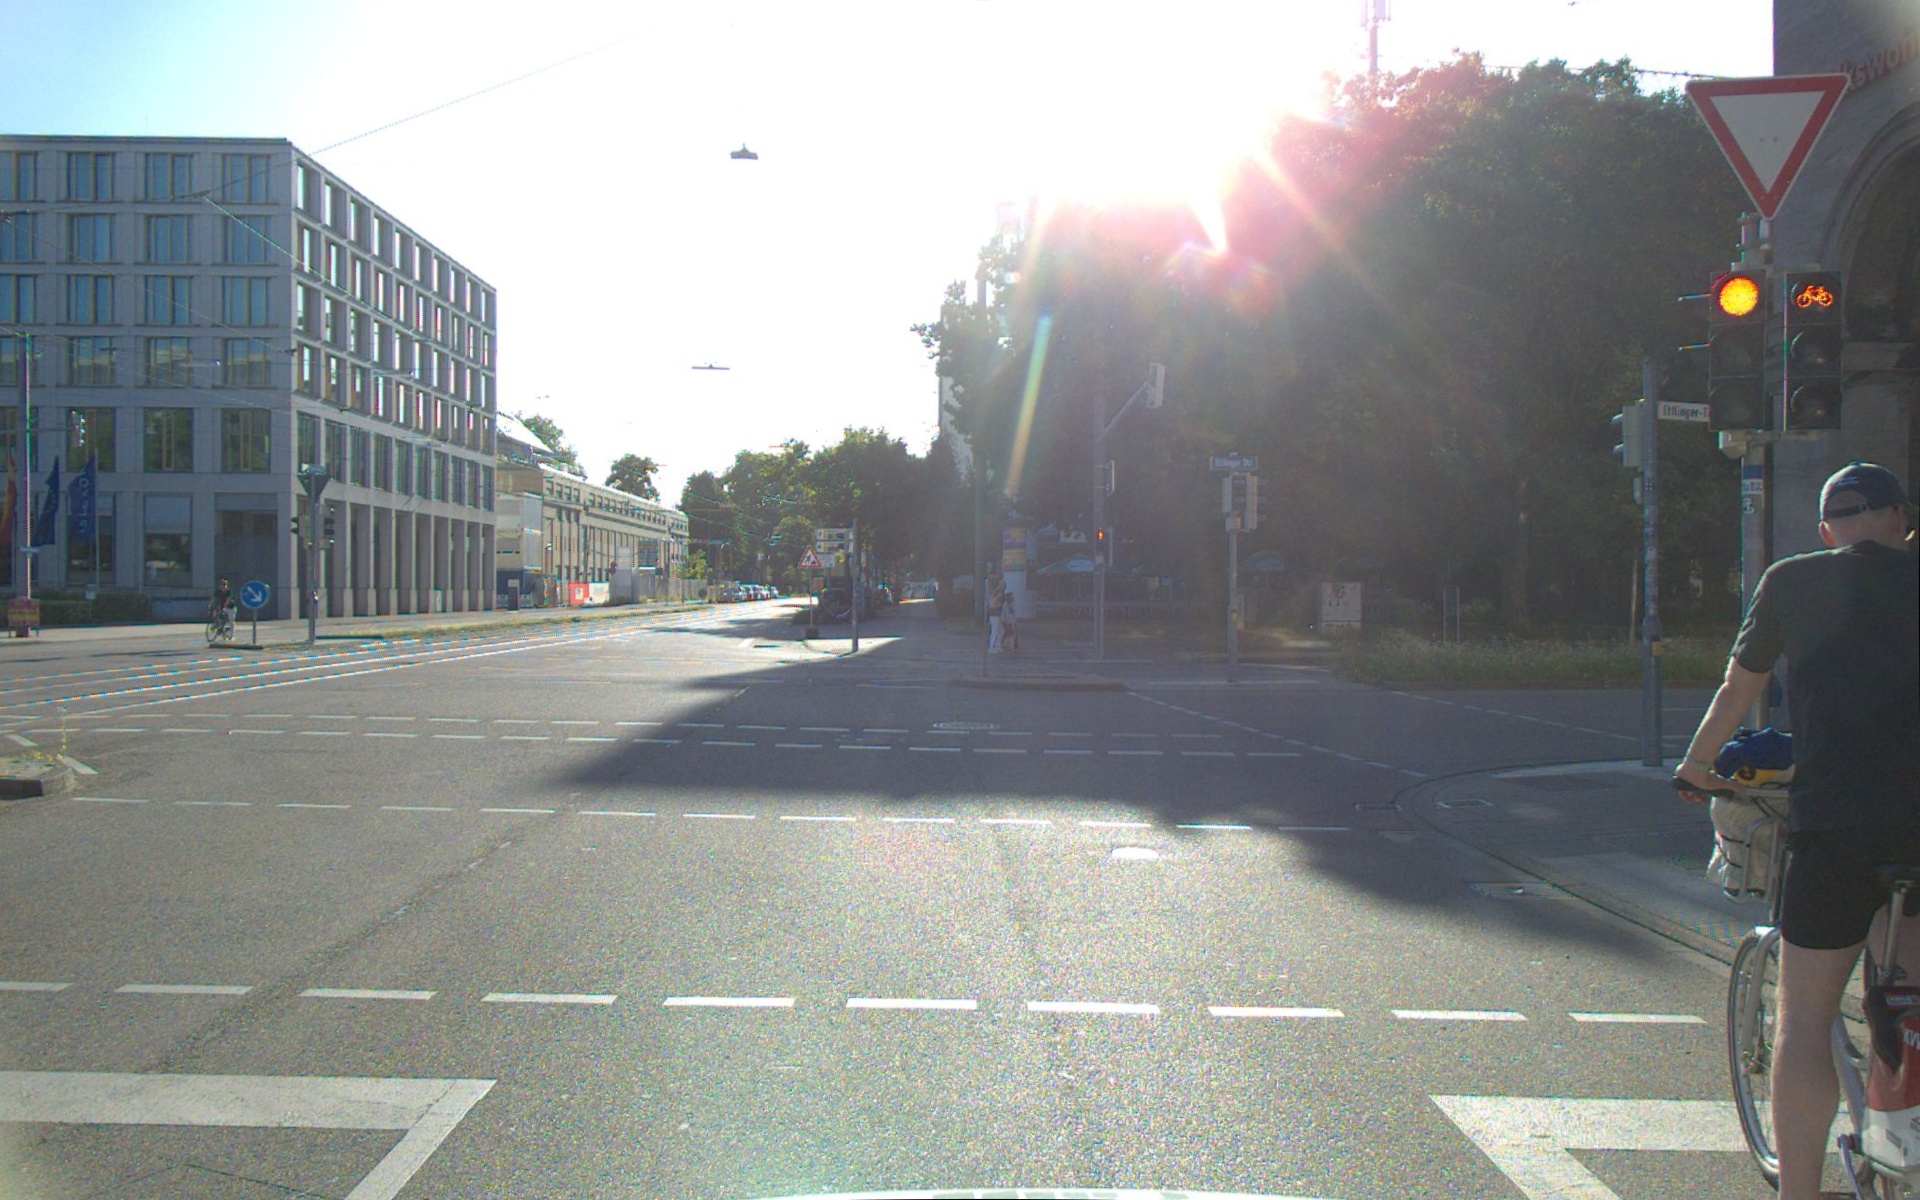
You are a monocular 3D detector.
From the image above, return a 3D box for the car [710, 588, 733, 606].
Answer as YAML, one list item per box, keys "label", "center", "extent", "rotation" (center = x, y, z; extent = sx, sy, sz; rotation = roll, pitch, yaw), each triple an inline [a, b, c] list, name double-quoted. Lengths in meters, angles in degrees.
- label: "car"
  center: [-22.438, -0.254, 155.719]
  extent: [1.695, 1.682, 3.999]
  rotation: [0, 0, -1]

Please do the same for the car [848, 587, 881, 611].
- label: "car"
  center: [-5.320, -0.066, 92.437]
  extent: [1.783, 1.301, 3.998]
  rotation: [0, 0, -3]

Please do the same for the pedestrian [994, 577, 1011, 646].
- label: "pedestrian"
  center: [1.150, 0.307, 44.735]
  extent: [0.353, 1.836, 0.507]
  rotation: [0, 0, 11]

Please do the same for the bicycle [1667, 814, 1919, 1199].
- label: "bicycle"
  center: [2.175, 1.102, 3.949]
  extent: [0.381, 0.921, 1.952]
  rotation: [0, 0, 8]

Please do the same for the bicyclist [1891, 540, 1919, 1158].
- label: "bicyclist"
  center: [2.893, 0.689, 4.270]
  extent: [0.511, 1.709, 0.859]
  rotation: [0, 0, 2]

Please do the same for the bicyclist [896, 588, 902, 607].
- label: "bicyclist"
  center: [-3.618, -0.142, 98.362]
  extent: [0.312, 1.147, 0.291]
  rotation: [0, 0, 0]

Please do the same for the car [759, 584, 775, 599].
- label: "car"
  center: [-22.654, -0.989, 194.223]
  extent: [1.453, 1.780, 3.999]
  rotation: [0, 0, -1]

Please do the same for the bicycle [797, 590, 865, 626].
- label: "bicycle"
  center: [-5.226, 0.330, 67.048]
  extent: [2.688, 1.391, 0.631]
  rotation: [1, -1, 10]

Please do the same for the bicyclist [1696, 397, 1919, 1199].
- label: "bicyclist"
  center: [2.132, 0.428, 3.771]
  extent: [0.655, 1.707, 0.657]
  rotation: [0, 0, 7]

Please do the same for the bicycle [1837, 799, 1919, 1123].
- label: "bicycle"
  center: [3.011, 1.094, 4.362]
  extent: [0.418, 0.891, 1.951]
  rotation: [0, 0, 2]

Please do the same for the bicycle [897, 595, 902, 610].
- label: "bicycle"
  center: [-3.601, 0.143, 98.490]
  extent: [0.317, 0.883, 1.483]
  rotation: [0, 0, -1]

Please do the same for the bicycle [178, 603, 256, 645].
- label: "bicycle"
  center: [-21.134, 0.664, 47.128]
  extent: [0.857, 1.140, 3.013]
  rotation: [0, 0, 0]

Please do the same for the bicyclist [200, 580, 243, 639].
- label: "bicyclist"
  center: [-21.098, 0.258, 47.275]
  extent: [0.857, 1.670, 0.822]
  rotation: [0, 0, 0]

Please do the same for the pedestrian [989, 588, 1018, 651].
- label: "pedestrian"
  center: [1.164, 0.524, 44.164]
  extent: [0.779, 1.668, 0.533]
  rotation: [0, 0, 2]

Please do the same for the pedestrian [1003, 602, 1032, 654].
- label: "pedestrian"
  center: [1.504, 0.725, 43.466]
  extent: [0.737, 1.356, 0.742]
  rotation: [0, 0, 0]

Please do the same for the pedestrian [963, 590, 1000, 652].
- label: "pedestrian"
  center: [0.562, 0.554, 43.599]
  extent: [0.964, 1.615, 0.660]
  rotation: [0, -1, 1]

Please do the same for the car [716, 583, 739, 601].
- label: "car"
  center: [-22.483, -0.795, 159.865]
  extent: [1.695, 1.682, 3.999]
  rotation: [0, 0, -1]
